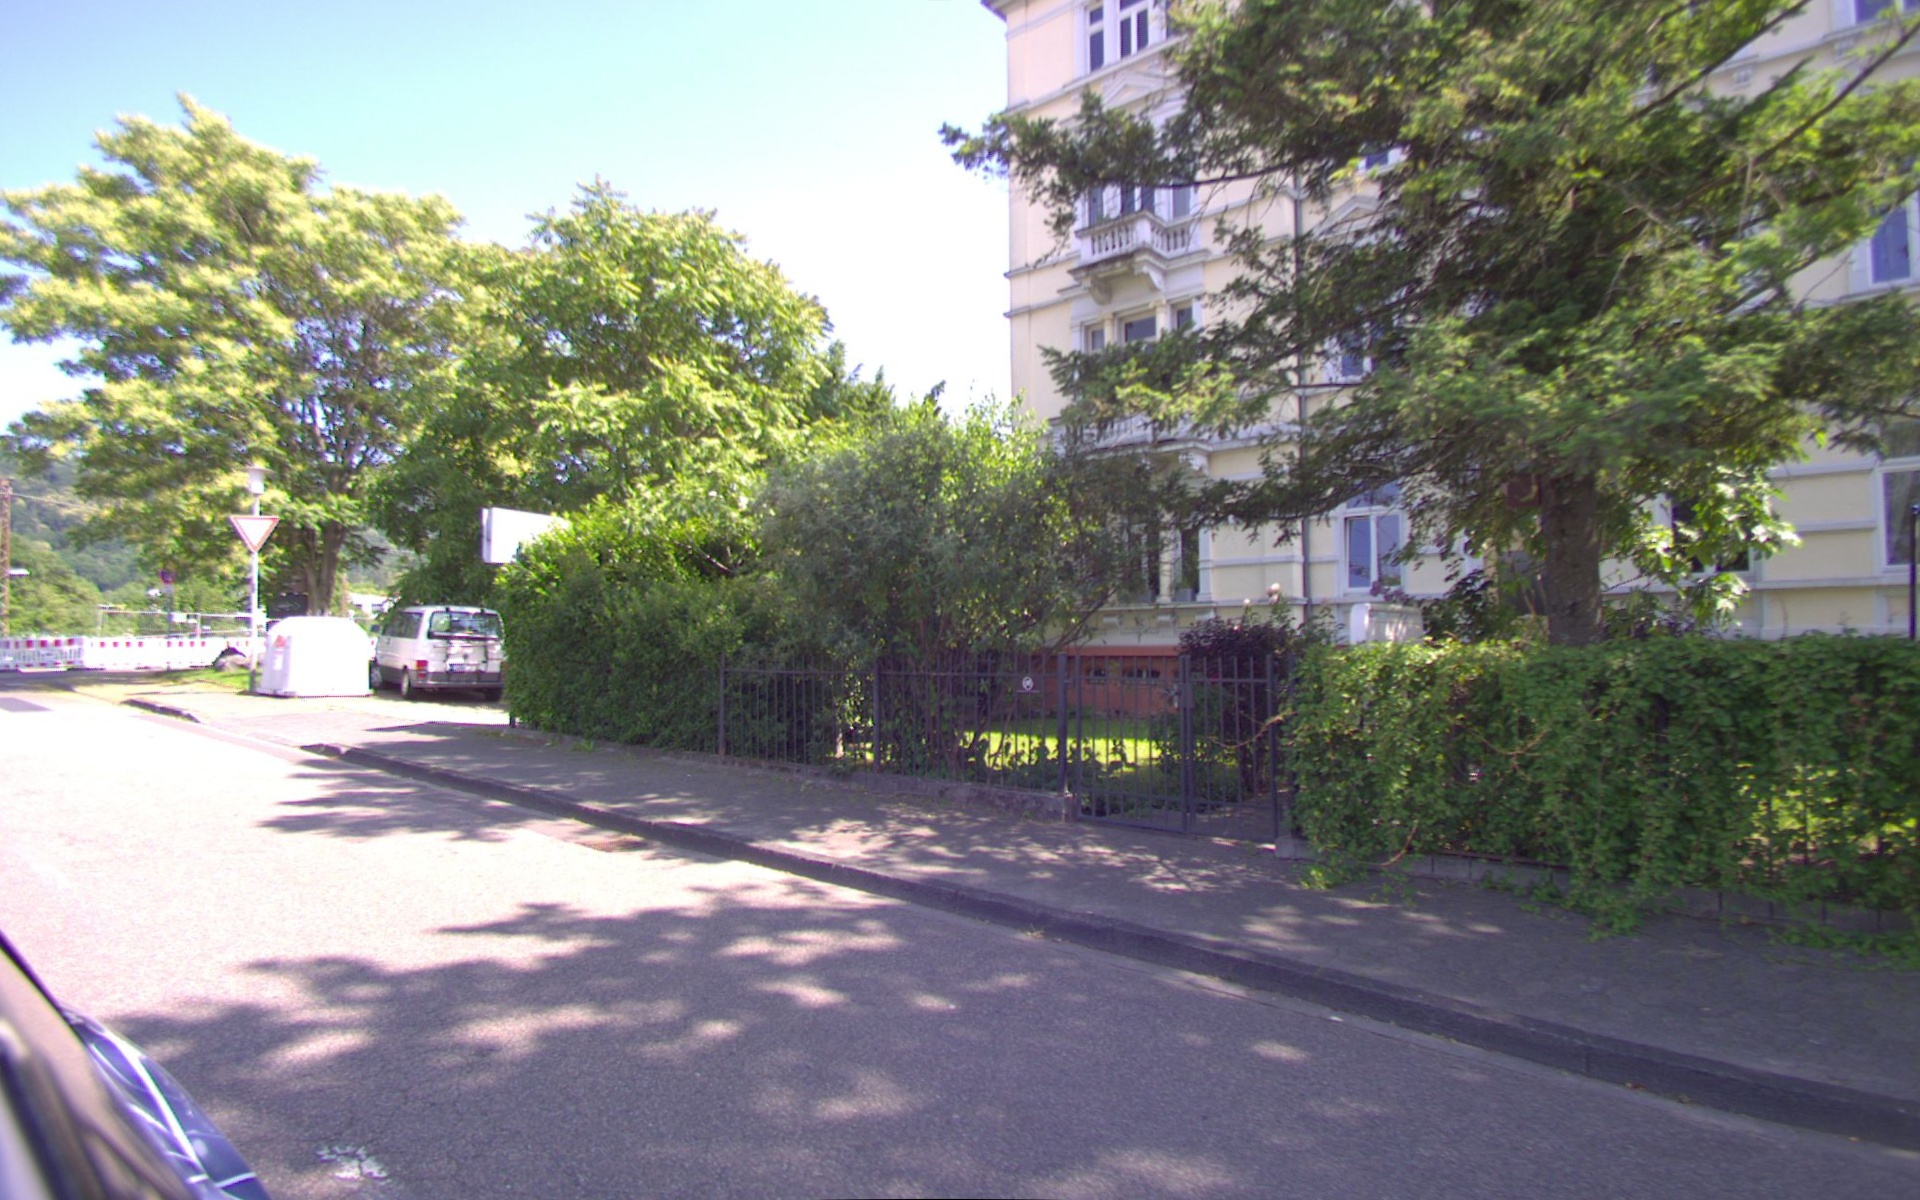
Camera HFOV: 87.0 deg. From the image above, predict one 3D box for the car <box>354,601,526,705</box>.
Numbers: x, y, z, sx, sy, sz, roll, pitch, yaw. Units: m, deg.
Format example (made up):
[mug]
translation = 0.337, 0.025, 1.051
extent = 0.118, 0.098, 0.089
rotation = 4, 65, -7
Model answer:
[car]
translation = -11.199, 1.057, 21.593
extent = 1.969, 1.945, 5.108
rotation = 5, -3, -41
